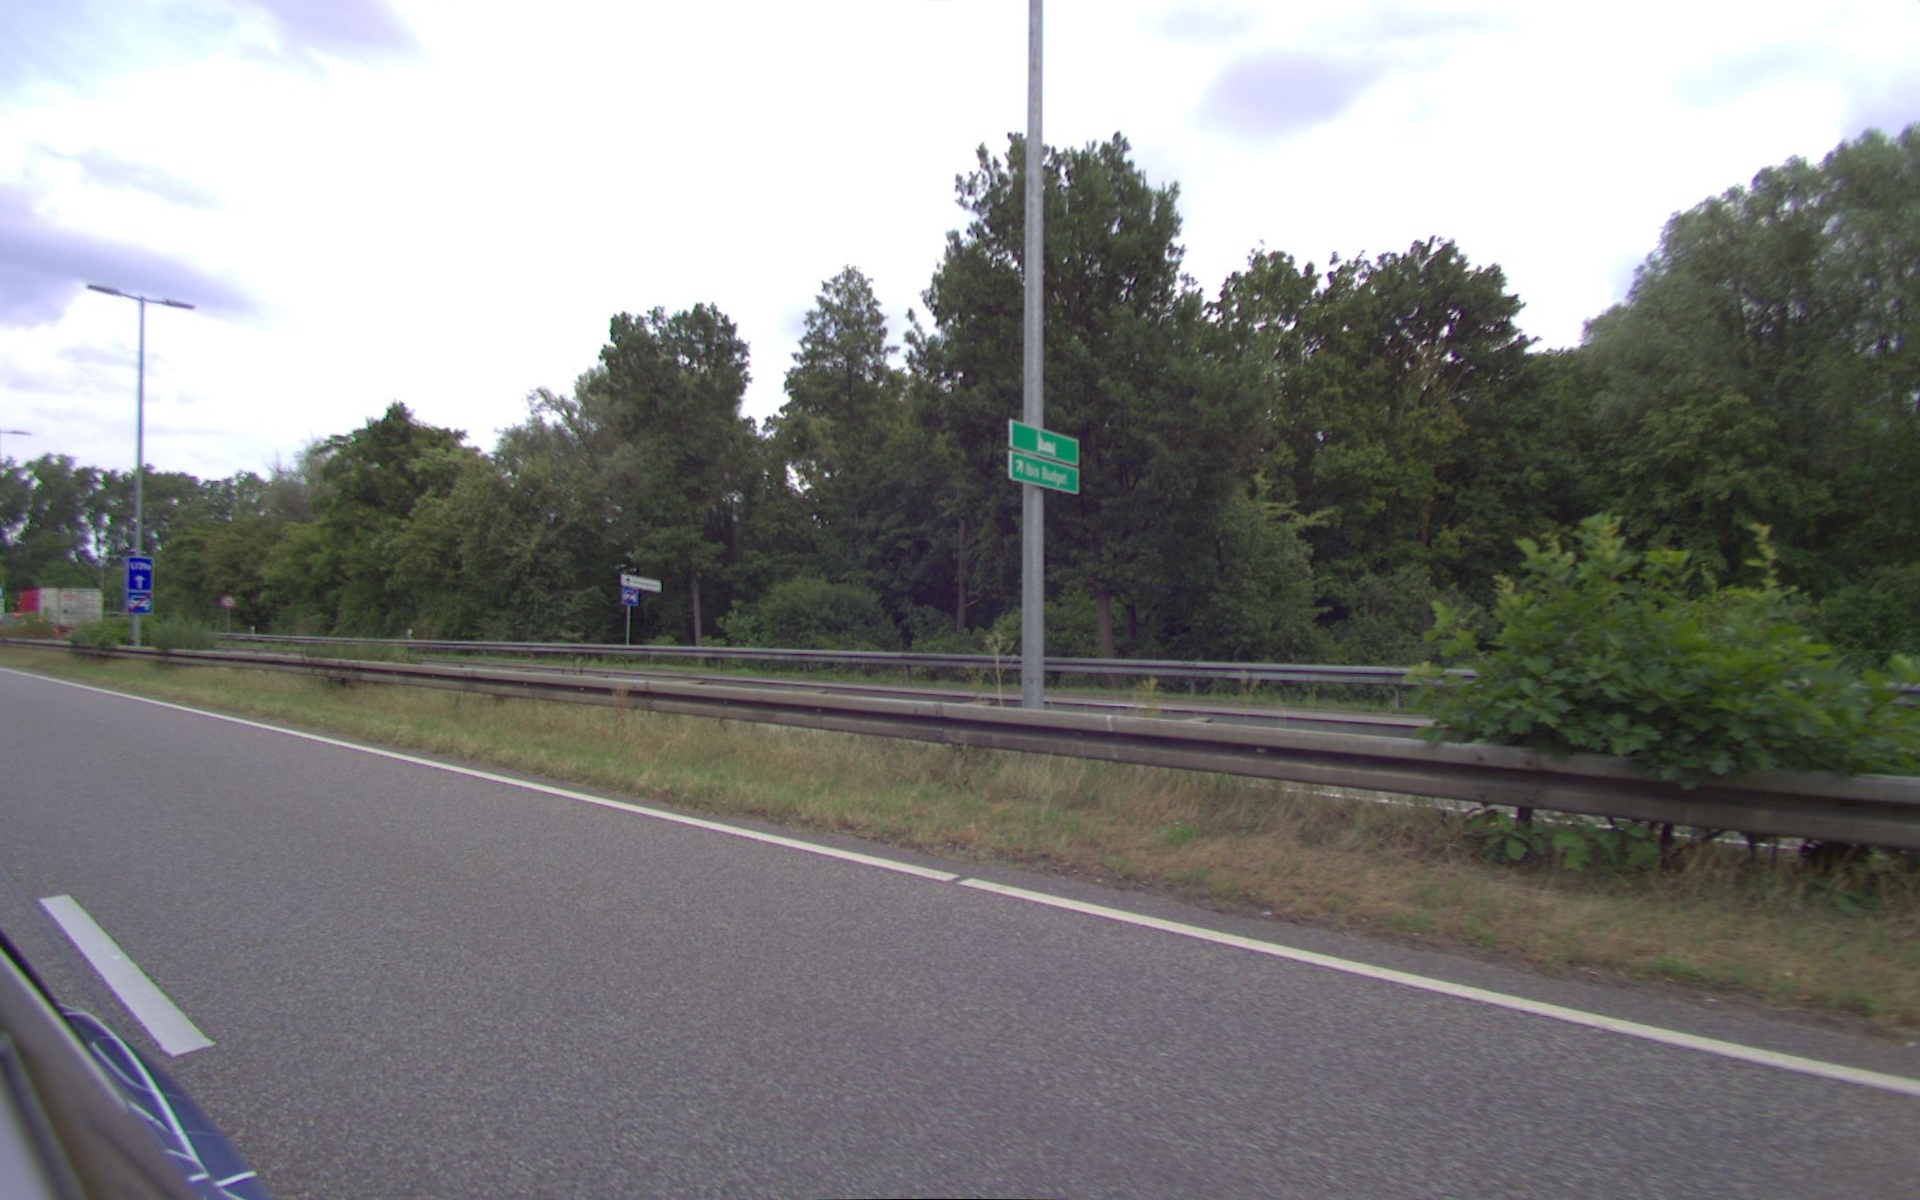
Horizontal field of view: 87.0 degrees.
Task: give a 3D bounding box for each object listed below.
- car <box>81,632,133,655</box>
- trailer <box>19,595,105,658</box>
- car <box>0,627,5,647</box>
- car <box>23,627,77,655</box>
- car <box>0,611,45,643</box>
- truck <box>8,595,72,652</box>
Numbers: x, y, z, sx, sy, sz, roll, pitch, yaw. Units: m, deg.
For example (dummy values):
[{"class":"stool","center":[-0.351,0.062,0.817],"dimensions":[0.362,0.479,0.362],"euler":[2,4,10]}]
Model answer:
[{"class":"car","center":[-53.498,2.710,63.428],"dimensions":[3.996,1.298,1.801],"euler":[0,-1,40]},{"class":"trailer","center":[-63.209,1.739,71.147],"dimensions":[10.755,4.178,2.511],"euler":[0,-1,38]},{"class":"car","center":[-72.928,2.734,75.426],"dimensions":[4.117,1.443,1.788],"euler":[0,-1,36]},{"class":"car","center":[-52.908,2.368,58.848],"dimensions":[3.936,1.517,1.750],"euler":[0,-1,39]},{"class":"car","center":[-60.612,1.693,64.865],"dimensions":[5.270,1.877,1.990],"euler":[0,-1,38]},{"class":"truck","center":[-68.289,1.678,75.074],"dimensions":[5.614,4.114,2.544],"euler":[0,-1,38]}]
